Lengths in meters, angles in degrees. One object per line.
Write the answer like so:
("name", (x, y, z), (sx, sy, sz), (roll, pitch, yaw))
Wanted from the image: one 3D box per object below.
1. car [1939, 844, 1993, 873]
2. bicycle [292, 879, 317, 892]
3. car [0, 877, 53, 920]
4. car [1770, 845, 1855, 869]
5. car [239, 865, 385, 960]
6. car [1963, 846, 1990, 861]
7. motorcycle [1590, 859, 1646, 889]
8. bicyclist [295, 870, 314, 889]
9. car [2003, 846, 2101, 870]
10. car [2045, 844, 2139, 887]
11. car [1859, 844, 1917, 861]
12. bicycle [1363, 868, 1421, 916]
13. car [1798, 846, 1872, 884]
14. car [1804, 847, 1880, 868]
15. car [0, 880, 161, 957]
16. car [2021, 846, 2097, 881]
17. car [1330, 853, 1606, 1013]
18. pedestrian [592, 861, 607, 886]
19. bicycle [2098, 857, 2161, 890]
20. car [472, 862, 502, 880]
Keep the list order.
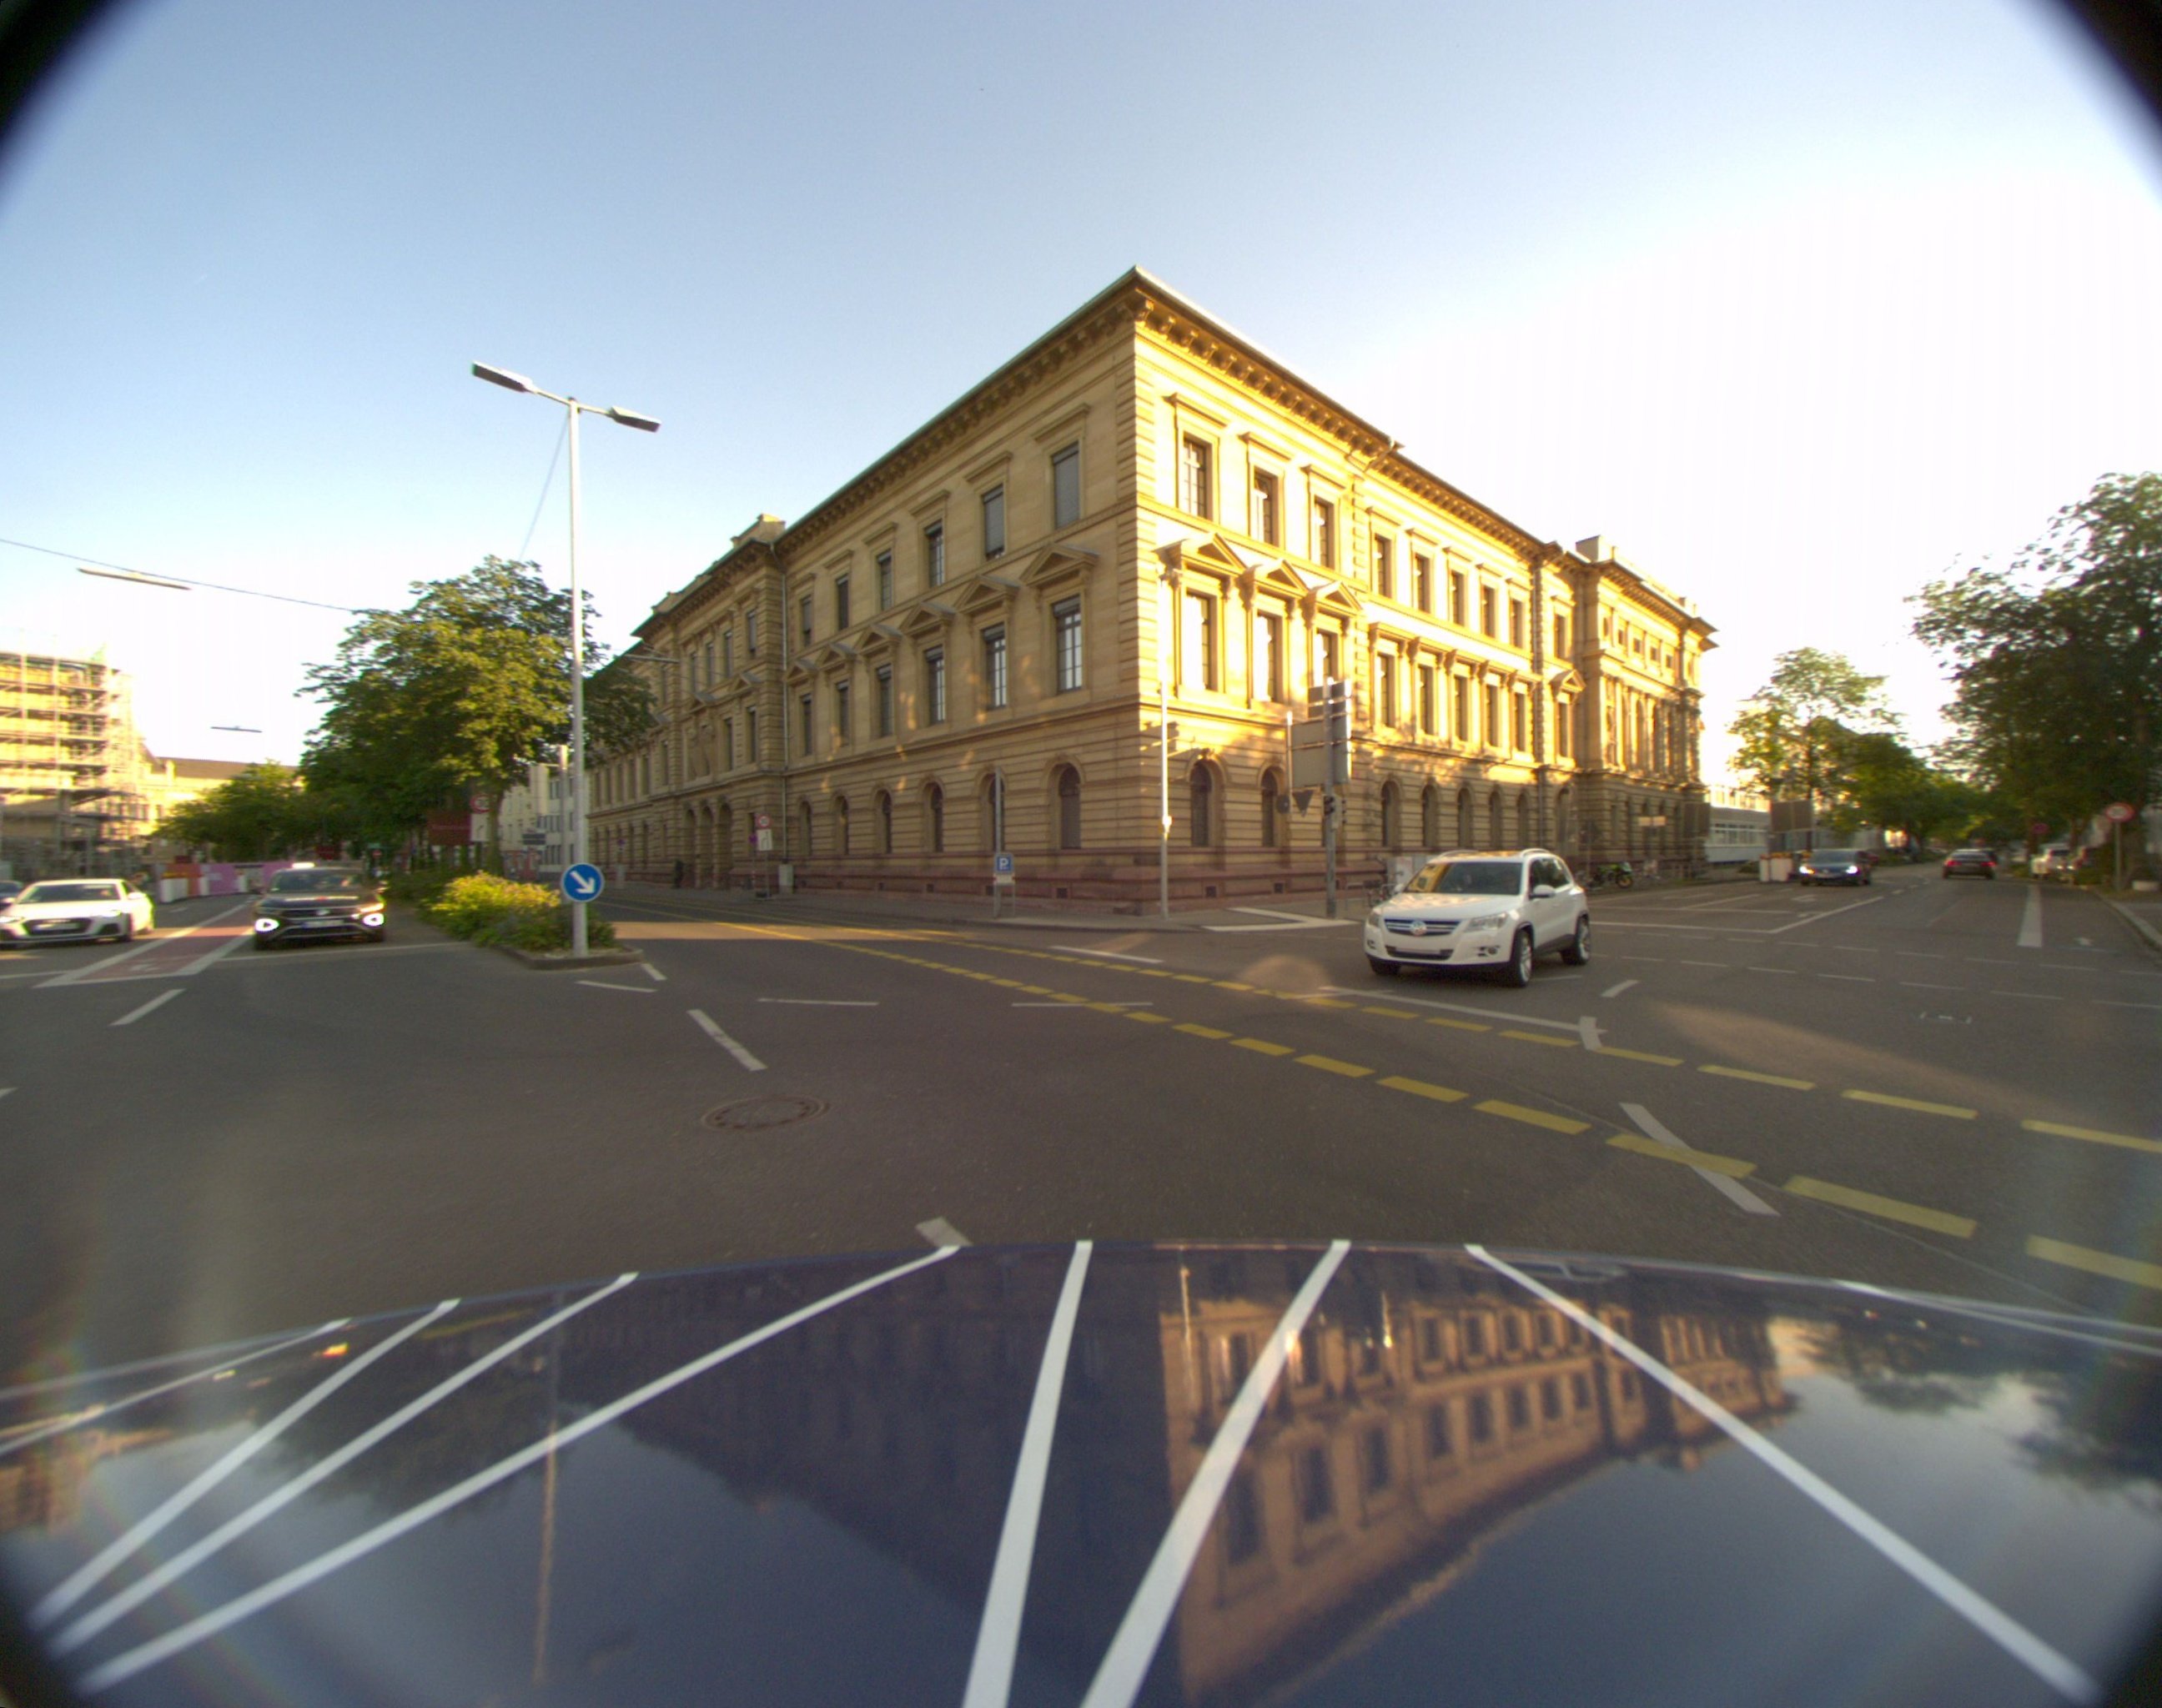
("car", (48.806, 0.209, 41.880), (4.432, 1.451, 1.783), (-1, 1, -39))
("bicycle", (-50.768, 2.053, 49.691), (0.591, 0.835, 1.744), (-1, 0, -25))
("car", (-41.223, 1.681, 29.034), (1.692, 1.483, 4.065), (-2, 1, -45))
("car", (55.147, 0.183, 57.333), (2.058, 1.633, 4.358), (-1, 2, -41))
("car", (-15.501, 1.059, 15.400), (1.838, 1.603, 4.065), (-2, 1, -45))
("car", (89.064, -0.073, 75.604), (3.862, 1.463, 1.658), (0, 0, -42))
("motorcycle", (23.639, 0.870, 33.515), (0.710, 1.208, 2.102), (0, 2, -9))
("bicyclist", (-50.772, 1.634, 49.683), (0.591, 1.216, 0.796), (-1, 0, -26))
("car", (69.077, 0.291, 54.163), (1.804, 1.680, 4.221), (-1, 0, -41))
("car", (46.176, 0.492, 34.816), (5.059, 1.748, 1.829), (-1, -4, -45))
("car", (90.893, -0.164, 85.612), (1.737, 1.863, 4.358), (-1, 1, -41))
("bicycle", (8.595, 1.033, 20.986), (1.923, 1.182, 0.582), (-3, 2, -38))
("car", (33.028, 0.446, 33.266), (4.008, 1.546, 1.947), (0, 0, -40))
("car", (63.938, 0.283, 63.869), (1.737, 1.615, 4.358), (-1, 2, -41))
("car", (-22.264, 1.340, 16.933), (1.838, 1.383, 4.010), (-2, 1, -45))
("car", (52.279, 0.468, 40.713), (4.666, 1.657, 1.829), (-1, -4, -45))
("car", (5.452, 0.854, 10.396), (4.552, 1.667, 1.953), (-1, 0, -44))
("pedestrian", (-36.173, 1.443, 57.034), (0.776, 1.842, 0.809), (-1, 1, -44))
("bicycle", (36.394, 0.664, 25.986), (0.612, 1.097, 1.867), (-1, 0, -45))
("car", (-65.422, 1.850, 83.689), (3.814, 1.837, 1.721), (-1, 0, 38))
